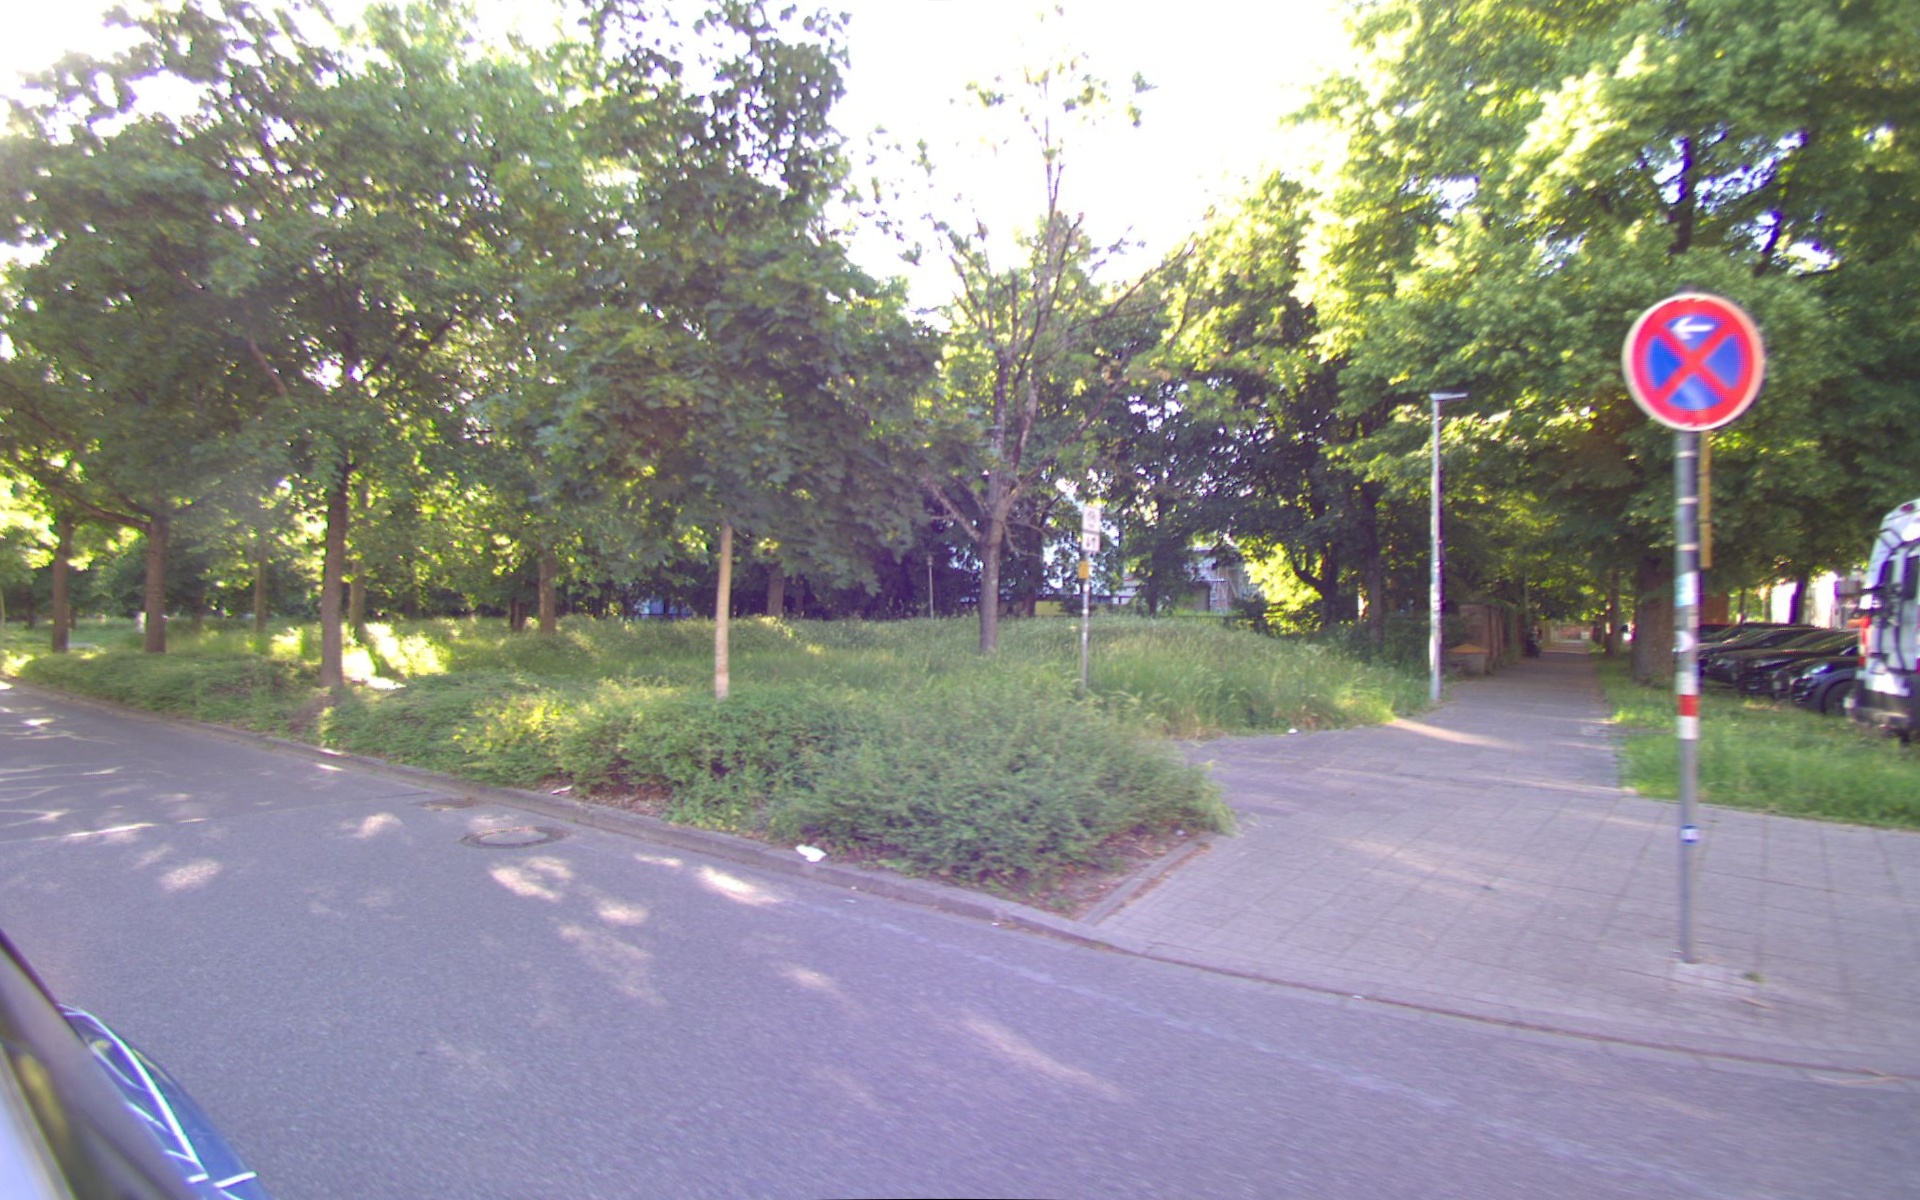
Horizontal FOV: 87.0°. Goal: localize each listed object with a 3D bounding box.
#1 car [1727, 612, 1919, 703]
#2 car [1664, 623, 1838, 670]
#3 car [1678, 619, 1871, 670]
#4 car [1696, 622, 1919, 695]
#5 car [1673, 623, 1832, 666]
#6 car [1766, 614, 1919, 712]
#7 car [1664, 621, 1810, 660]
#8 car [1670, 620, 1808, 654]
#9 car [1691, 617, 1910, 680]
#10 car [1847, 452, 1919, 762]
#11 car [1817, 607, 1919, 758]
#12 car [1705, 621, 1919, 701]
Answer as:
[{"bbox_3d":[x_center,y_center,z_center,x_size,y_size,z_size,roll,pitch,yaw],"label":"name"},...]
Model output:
[{"bbox_3d":[15.616,0.953,17.218,3.867,1.453,1.958,-1,-2,31],"label":"car"},{"bbox_3d":[23.315,1.339,30.026,3.867,1.266,1.767,0,0,31],"label":"car"},{"bbox_3d":[22.064,1.172,27.621,3.867,1.266,1.767,0,0,31],"label":"car"},{"bbox_3d":[18.066,1.182,21.380,3.867,1.388,1.958,0,0,31],"label":"car"},{"bbox_3d":[25.641,1.423,32.927,3.867,1.266,1.767,0,0,31],"label":"car"},{"bbox_3d":[14.351,0.886,14.696,3.867,1.352,1.958,0,0,31],"label":"car"},{"bbox_3d":[27.098,1.386,35.460,3.867,1.266,1.767,0,0,31],"label":"car"},{"bbox_3d":[28.943,1.354,37.757,3.867,1.164,1.767,0,0,31],"label":"car"},{"bbox_3d":[20.473,1.135,24.892,3.867,1.388,1.958,0,0,31],"label":"car"},{"bbox_3d":[11.079,0.049,8.107,5.611,2.634,2.215,0,-1,31],"label":"car"},{"bbox_3d":[12.019,0.868,10.650,4.284,1.587,1.958,0,0,31],"label":"car"},{"bbox_3d":[16.757,1.120,19.336,3.867,1.388,1.958,0,0,31],"label":"car"}]
